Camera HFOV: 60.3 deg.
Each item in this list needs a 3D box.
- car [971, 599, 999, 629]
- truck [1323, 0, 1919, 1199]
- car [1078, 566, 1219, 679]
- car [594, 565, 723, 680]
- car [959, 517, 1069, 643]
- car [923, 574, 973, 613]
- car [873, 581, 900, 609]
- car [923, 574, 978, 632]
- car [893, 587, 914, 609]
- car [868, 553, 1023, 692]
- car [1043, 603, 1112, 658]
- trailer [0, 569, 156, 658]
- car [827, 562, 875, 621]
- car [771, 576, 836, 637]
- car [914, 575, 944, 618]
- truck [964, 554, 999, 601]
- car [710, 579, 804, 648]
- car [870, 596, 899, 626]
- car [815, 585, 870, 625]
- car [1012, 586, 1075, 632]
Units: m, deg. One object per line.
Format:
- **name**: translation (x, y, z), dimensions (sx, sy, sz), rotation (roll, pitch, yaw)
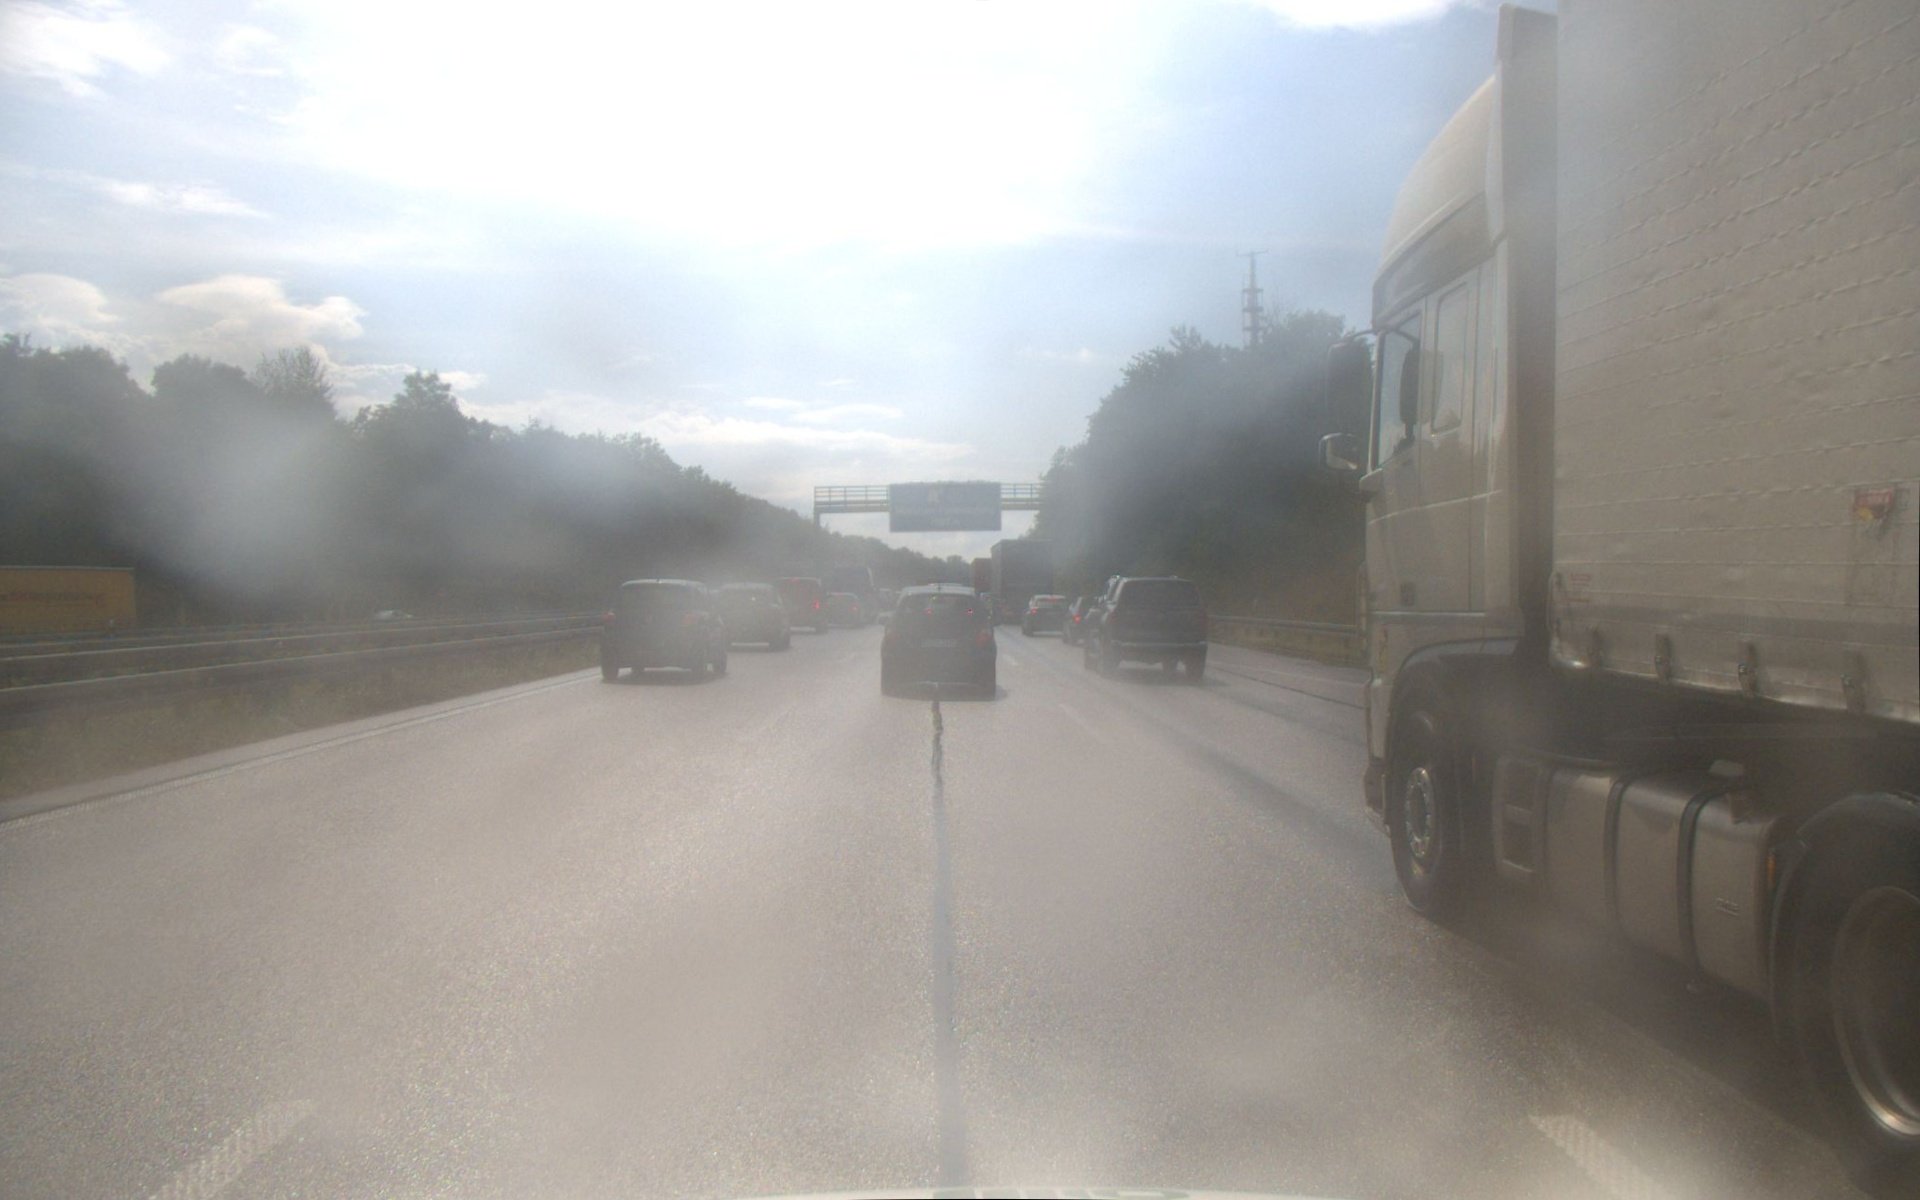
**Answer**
- **car**: translation (1.821, 1.003, 121.035), dimensions (1.953, 2.152, 4.888), rotation (1, 0, 0)
- **truck**: translation (3.781, -0.532, 6.155), dimensions (3.218, 3.959, 6.394), rotation (1, 0, -2)
- **car**: translation (3.483, 0.404, 31.603), dimensions (1.902, 1.952, 5.650), rotation (1, 0, -2)
- **car**: translation (-5.136, 0.370, 28.647), dimensions (1.658, 1.836, 3.974), rotation (1, 0, -3)
- **car**: translation (2.593, -0.912, 87.206), dimensions (4.316, 5.932, 16.807), rotation (1, 0, -3)
- **car**: translation (-0.505, -0.254, 67.257), dimensions (1.827, 1.542, 3.973), rotation (1, 0, -3)
- **car**: translation (-5.819, -0.395, 132.224), dimensions (1.953, 2.152, 4.888), rotation (1, 0, 0)
- **car**: translation (-0.345, 0.111, 55.279), dimensions (1.658, 1.836, 3.974), rotation (1, 0, -3)
- **car**: translation (-5.669, -0.162, 165.862), dimensions (1.953, 2.152, 4.888), rotation (1, 0, 0)
- **car**: translation (-0.301, 0.333, 26.368), dimensions (2.228, 1.989, 4.819), rotation (1, 0, -2)
- **car**: translation (3.431, 0.866, 49.011), dimensions (1.559, 1.542, 3.974), rotation (1, 0, -3)
- **trailer**: translation (-46.224, 0.657, 83.408), dimensions (3.707, 4.189, 11.735), rotation (1, 0, 12)
- **car**: translation (-5.122, -0.395, 78.350), dimensions (1.953, 2.661, 5.259), rotation (1, 0, 0)
- **car**: translation (-5.642, 0.240, 60.189), dimensions (1.938, 2.090, 4.756), rotation (1, 0, 0)
- **car**: translation (-2.044, -0.233, 110.669), dimensions (1.953, 2.794, 5.259), rotation (1, 0, 0)
- **truck**: translation (1.694, -1.771, 133.957), dimensions (2.719, 3.695, 5.916), rotation (1, 0, 0)
- **car**: translation (-5.211, 0.335, 43.027), dimensions (1.870, 1.665, 4.616), rotation (-1, 0, 0)
- **car**: translation (-5.663, 0.824, 124.659), dimensions (1.953, 2.152, 4.888), rotation (1, 0, 0)
- **car**: translation (-4.858, 0.197, 68.826), dimensions (1.953, 1.592, 4.756), rotation (1, 0, 0)
- **car**: translation (2.912, 0.325, 58.618), dimensions (1.827, 1.542, 3.973), rotation (1, 0, -3)
